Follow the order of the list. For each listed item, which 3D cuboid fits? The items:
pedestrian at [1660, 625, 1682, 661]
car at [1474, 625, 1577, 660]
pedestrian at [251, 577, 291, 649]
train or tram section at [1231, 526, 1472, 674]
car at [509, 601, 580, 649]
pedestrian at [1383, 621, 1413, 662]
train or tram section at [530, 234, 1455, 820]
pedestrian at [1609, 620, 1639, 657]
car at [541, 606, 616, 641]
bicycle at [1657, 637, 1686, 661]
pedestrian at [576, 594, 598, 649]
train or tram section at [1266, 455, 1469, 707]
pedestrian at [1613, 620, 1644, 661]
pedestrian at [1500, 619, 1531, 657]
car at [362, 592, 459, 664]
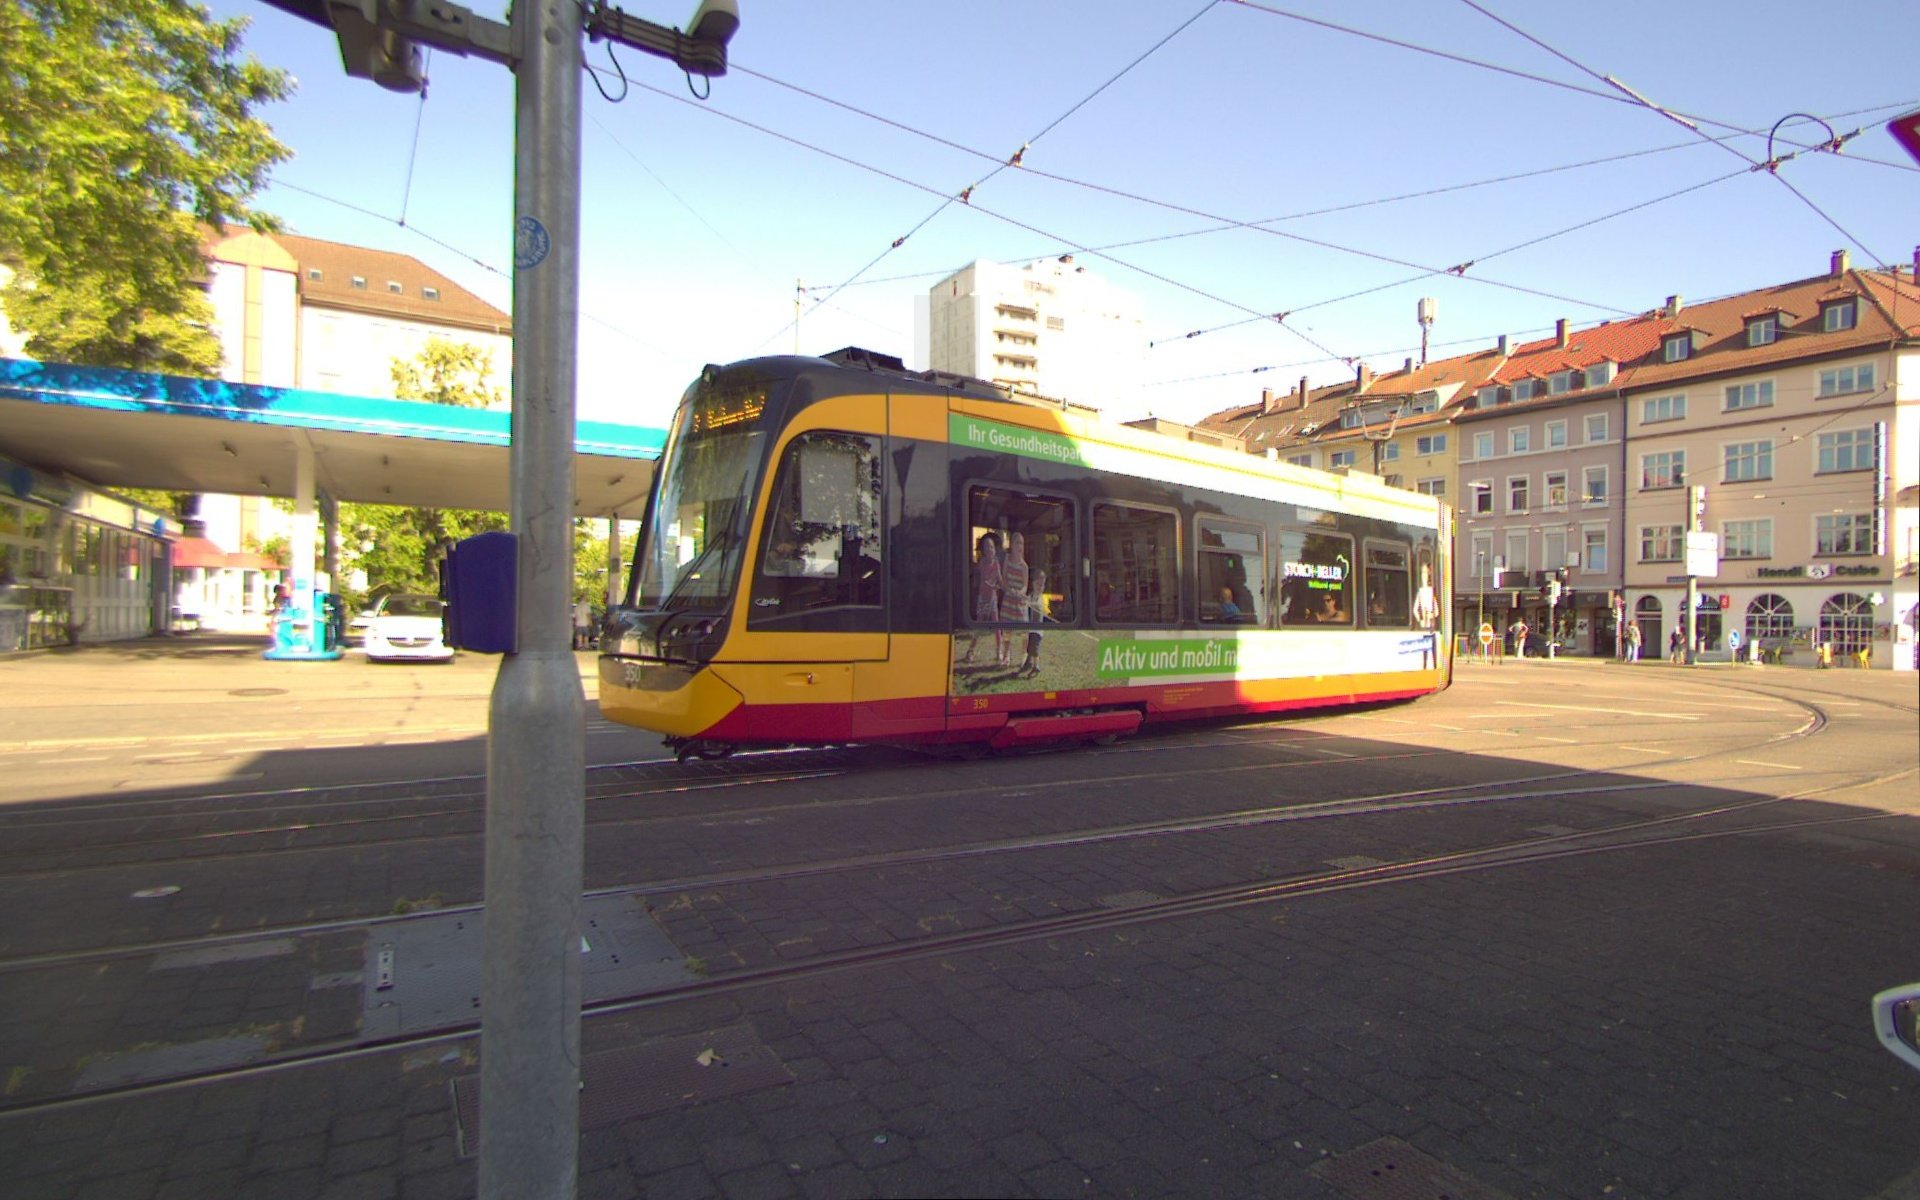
[{"bbox_3d":[33.985,2.035,48.003,0.743,1.692,0.579,2,0,-30],"label":"pedestrian"},{"bbox_3d":[30.819,2.293,54.845,2.277,1.734,4.350,2,0,-27],"label":"car"},{"bbox_3d":[-16.785,0.312,24.474,0.490,1.724,0.649,1,-1,1],"label":"pedestrian"},{"bbox_3d":[12.017,0.100,32.697,2.884,3.864,12.120,1,-1,-1],"label":"train or tram section"},{"bbox_3d":[-13.556,0.786,32.680,1.737,1.461,3.543,1,-1,-29],"label":"car"},{"bbox_3d":[17.420,1.648,39.982,0.867,1.598,0.665,2,0,-2],"label":"pedestrian"},{"bbox_3d":[1.960,-0.338,12.149,12.962,3.864,2.904,2,-1,-43],"label":"train or tram section"},{"bbox_3d":[29.367,1.712,44.434,0.819,1.598,0.726,2,0,-13],"label":"pedestrian"},{"bbox_3d":[-16.868,1.044,44.605,1.722,1.461,3.572,1,-1,5],"label":"car"},{"bbox_3d":[34.016,2.336,48.028,1.479,1.091,0.570,2,0,-30],"label":"bicycle"},{"bbox_3d":[-11.664,0.672,31.396,0.491,1.724,0.500,1,-1,-5],"label":"pedestrian"},{"bbox_3d":[9.341,-0.160,21.777,2.887,3.864,12.804,0,-1,27],"label":"train or tram section"},{"bbox_3d":[26.489,1.601,39.828,0.817,1.598,0.552,2,0,-2],"label":"pedestrian"},{"bbox_3d":[24.390,1.670,44.127,0.821,1.598,0.847,2,0,-20],"label":"pedestrian"},{"bbox_3d":[-12.206,0.605,22.354,1.737,1.461,3.543,1,-1,-29],"label":"car"}]
